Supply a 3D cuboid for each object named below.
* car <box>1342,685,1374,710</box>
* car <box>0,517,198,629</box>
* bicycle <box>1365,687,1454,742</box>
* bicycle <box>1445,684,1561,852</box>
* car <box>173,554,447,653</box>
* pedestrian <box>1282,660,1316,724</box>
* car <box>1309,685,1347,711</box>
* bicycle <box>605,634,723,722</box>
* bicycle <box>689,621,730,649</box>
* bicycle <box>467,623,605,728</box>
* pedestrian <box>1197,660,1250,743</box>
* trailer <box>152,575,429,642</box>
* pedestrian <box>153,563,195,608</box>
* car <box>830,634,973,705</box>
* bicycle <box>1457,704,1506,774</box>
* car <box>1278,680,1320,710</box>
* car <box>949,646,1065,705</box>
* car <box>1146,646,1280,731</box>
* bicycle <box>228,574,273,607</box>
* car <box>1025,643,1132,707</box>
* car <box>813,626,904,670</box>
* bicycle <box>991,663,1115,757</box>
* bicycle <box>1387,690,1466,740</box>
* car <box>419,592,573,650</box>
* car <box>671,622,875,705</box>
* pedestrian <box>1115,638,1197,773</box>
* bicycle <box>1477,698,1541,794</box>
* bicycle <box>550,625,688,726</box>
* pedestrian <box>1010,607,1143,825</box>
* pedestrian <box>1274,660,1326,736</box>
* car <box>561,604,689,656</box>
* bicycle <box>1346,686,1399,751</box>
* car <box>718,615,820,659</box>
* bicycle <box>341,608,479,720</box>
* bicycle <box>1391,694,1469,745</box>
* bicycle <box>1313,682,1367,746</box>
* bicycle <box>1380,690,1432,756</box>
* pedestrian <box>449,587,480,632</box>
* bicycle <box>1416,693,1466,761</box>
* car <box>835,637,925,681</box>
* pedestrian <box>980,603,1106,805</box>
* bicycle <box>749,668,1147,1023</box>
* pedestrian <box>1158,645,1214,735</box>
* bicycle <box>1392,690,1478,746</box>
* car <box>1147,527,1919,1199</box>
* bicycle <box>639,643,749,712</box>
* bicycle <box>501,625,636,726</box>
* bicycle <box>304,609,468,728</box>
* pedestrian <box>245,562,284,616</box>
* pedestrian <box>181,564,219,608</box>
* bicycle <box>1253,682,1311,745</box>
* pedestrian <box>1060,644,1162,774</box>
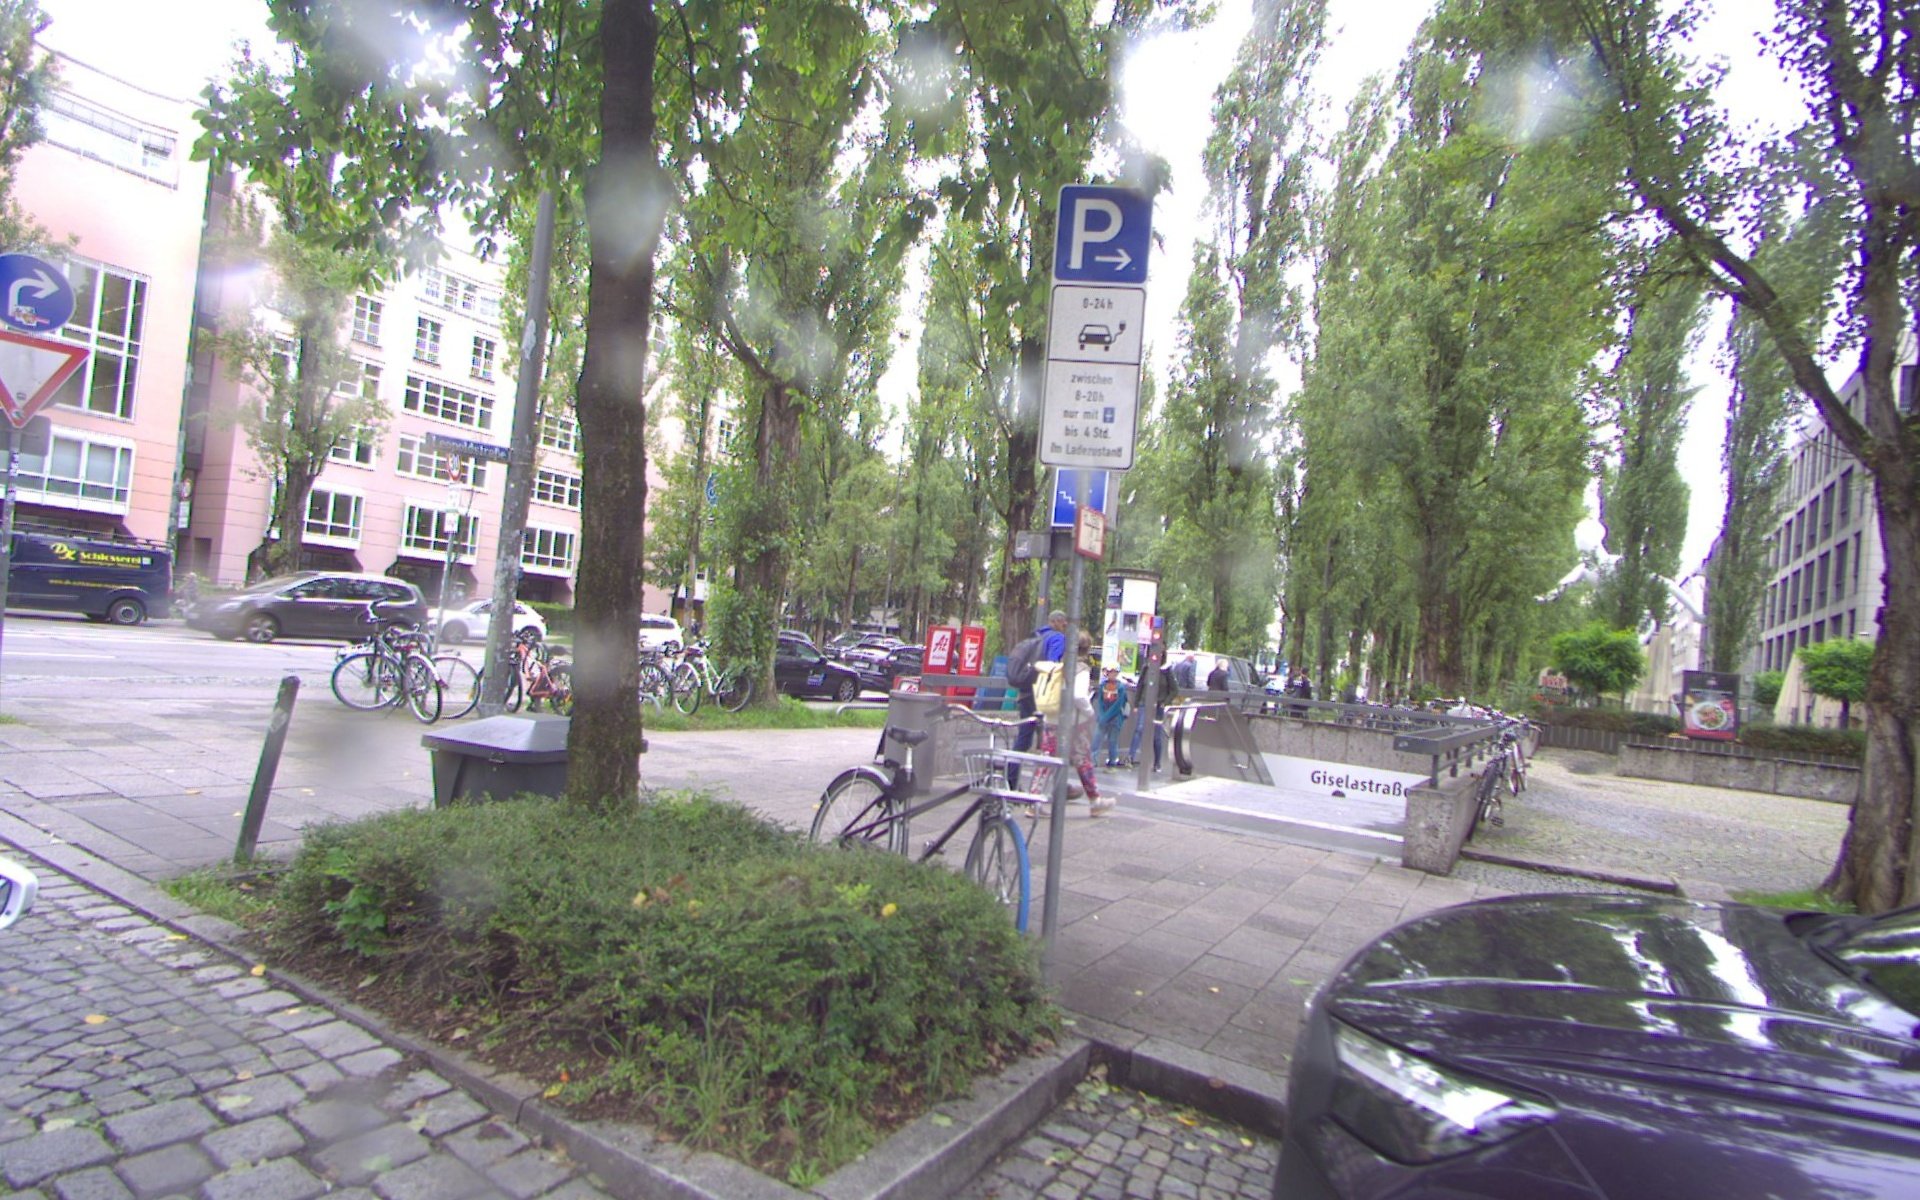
[{"bbox_3d":[32.579,8.000,82.388,1.719,1.808,3.947,6,-2,30],"label":"car"},{"bbox_3d":[-21.470,-0.687,23.405,1.991,2.222,5.488,5,-3,32],"label":"car"},{"bbox_3d":[11.807,2.999,26.465,2.000,1.173,0.586,4,-2,34],"label":"bicycle"},{"bbox_3d":[4.950,1.463,9.112,0.710,1.291,1.866,4,-3,33],"label":"bicycle"},{"bbox_3d":[-14.723,0.149,23.098,1.968,1.741,4.807,3,-4,32],"label":"car"},{"bbox_3d":[10.339,2.797,30.689,0.689,1.862,0.704,5,-1,35],"label":"pedestrian"},{"bbox_3d":[26.503,7.066,72.386,1.719,1.564,3.947,6,-2,30],"label":"car"},{"bbox_3d":[-4.111,1.063,13.902,1.806,1.050,0.511,3,-3,37],"label":"bicycle"},{"bbox_3d":[-12.200,1.705,48.982,1.957,1.138,0.674,4,-2,33],"label":"bicycle"},{"bbox_3d":[-4.994,0.861,11.795,1.847,1.062,0.475,3,-3,34],"label":"bicycle"},{"bbox_3d":[5.503,2.122,20.976,0.688,1.625,0.831,4,-2,37],"label":"pedestrian"},{"bbox_3d":[-18.597,0.305,28.348,2.366,1.213,6.027,4,-3,33],"label":"trailer"},{"bbox_3d":[-26.557,-0.487,33.999,0.718,1.385,0.710,5,-2,3],"label":"pedestrian"},{"bbox_3d":[-1.475,1.889,26.788,1.720,1.544,3.901,6,-2,33],"label":"car"},{"bbox_3d":[9.712,2.554,18.709,0.578,1.173,1.866,5,-3,33],"label":"bicycle"},{"bbox_3d":[22.154,6.207,65.651,1.719,1.662,3.947,6,-2,30],"label":"car"},{"bbox_3d":[1.557,2.423,31.723,1.719,1.544,4.228,6,-2,31],"label":"car"},{"bbox_3d":[6.974,2.437,27.311,1.786,1.918,5.192,5,-3,34],"label":"car"},{"bbox_3d":[-27.680,-0.373,39.241,1.957,1.138,0.674,4,-2,33],"label":"bicycle"},{"bbox_3d":[4.433,2.794,36.790,1.885,1.946,5.034,6,-2,30],"label":"car"},{"bbox_3d":[-5.017,2.449,50.446,1.967,1.818,4.754,4,-3,31],"label":"car"},{"bbox_3d":[1.310,1.524,13.819,0.580,1.173,1.860,4,-3,43],"label":"bicycle"},{"bbox_3d":[12.925,3.173,27.867,1.840,1.173,0.586,4,-2,34],"label":"bicycle"},{"bbox_3d":[-15.204,0.725,33.166,1.778,1.559,4.224,3,-3,34],"label":"car"},{"bbox_3d":[-4.054,1.480,22.554,1.729,1.444,4.437,6,-2,35],"label":"car"},{"bbox_3d":[2.638,1.413,13.528,0.686,1.720,0.656,7,-2,-43],"label":"pedestrian"},{"bbox_3d":[7.577,1.978,13.842,0.578,1.173,1.866,5,-3,33],"label":"bicycle"},{"bbox_3d":[-4.445,0.961,13.059,1.899,1.118,0.512,3,-2,32],"label":"bicycle"},{"bbox_3d":[0.994,0.963,8.504,0.602,1.700,0.842,4,-2,41],"label":"pedestrian"},{"bbox_3d":[8.981,2.589,26.560,0.905,1.888,1.011,4,-2,37],"label":"pedestrian"},{"bbox_3d":[-12.631,1.168,38.155,1.966,1.559,4.320,5,-3,29],"label":"car"},{"bbox_3d":[8.212,2.342,19.993,0.578,1.173,1.866,5,-3,33],"label":"bicycle"},{"bbox_3d":[-8.472,1.704,45.033,1.968,1.559,4.316,4,-3,33],"label":"car"},{"bbox_3d":[-6.255,0.705,11.401,1.846,1.063,0.475,5,-1,34],"label":"bicycle"},{"bbox_3d":[13.251,3.360,28.398,1.840,1.173,0.586,5,-2,34],"label":"bicycle"},{"bbox_3d":[7.706,2.307,20.338,0.578,1.173,1.866,5,-3,33],"label":"bicycle"},{"bbox_3d":[8.718,2.392,19.645,0.578,1.173,1.866,5,-3,33],"label":"bicycle"},{"bbox_3d":[-20.077,0.384,40.776,0.698,1.733,0.730,5,-2,33],"label":"pedestrian"},{"bbox_3d":[9.240,2.422,19.297,0.578,1.173,1.866,5,-3,33],"label":"bicycle"},{"bbox_3d":[-3.338,2.509,42.476,1.819,1.544,3.746,3,-4,32],"label":"car"},{"bbox_3d":[0.764,0.934,9.187,0.655,1.716,0.802,4,-2,41],"label":"pedestrian"},{"bbox_3d":[-0.136,0.977,4.533,1.850,1.150,0.474,4,-2,41],"label":"bicycle"},{"bbox_3d":[4.825,1.930,21.491,0.739,1.824,0.840,4,-2,37],"label":"pedestrian"},{"bbox_3d":[12.081,2.988,25.612,1.840,1.173,0.586,4,-2,34],"label":"bicycle"},{"bbox_3d":[2.537,0.978,1.295,4.131,1.719,1.925,4,-3,30],"label":"car"},{"bbox_3d":[-3.877,1.117,14.593,1.806,0.827,0.470,3,-3,37],"label":"bicycle"},{"bbox_3d":[-4.774,0.901,12.227,1.847,1.062,0.475,3,-3,34],"label":"bicycle"},{"bbox_3d":[-6.051,0.701,10.580,1.844,1.063,0.475,4,-2,27],"label":"bicycle"},{"bbox_3d":[-23.905,-0.378,34.572,0.698,1.733,0.730,5,-2,33],"label":"pedestrian"},{"bbox_3d":[-26.199,-0.477,34.682,0.698,1.385,0.730,4,-2,33],"label":"pedestrian"},{"bbox_3d":[6.597,2.322,20.548,0.578,1.173,1.866,5,-3,33],"label":"bicycle"},{"bbox_3d":[1.818,1.300,12.106,0.765,1.436,0.809,6,-2,-43],"label":"pedestrian"}]
